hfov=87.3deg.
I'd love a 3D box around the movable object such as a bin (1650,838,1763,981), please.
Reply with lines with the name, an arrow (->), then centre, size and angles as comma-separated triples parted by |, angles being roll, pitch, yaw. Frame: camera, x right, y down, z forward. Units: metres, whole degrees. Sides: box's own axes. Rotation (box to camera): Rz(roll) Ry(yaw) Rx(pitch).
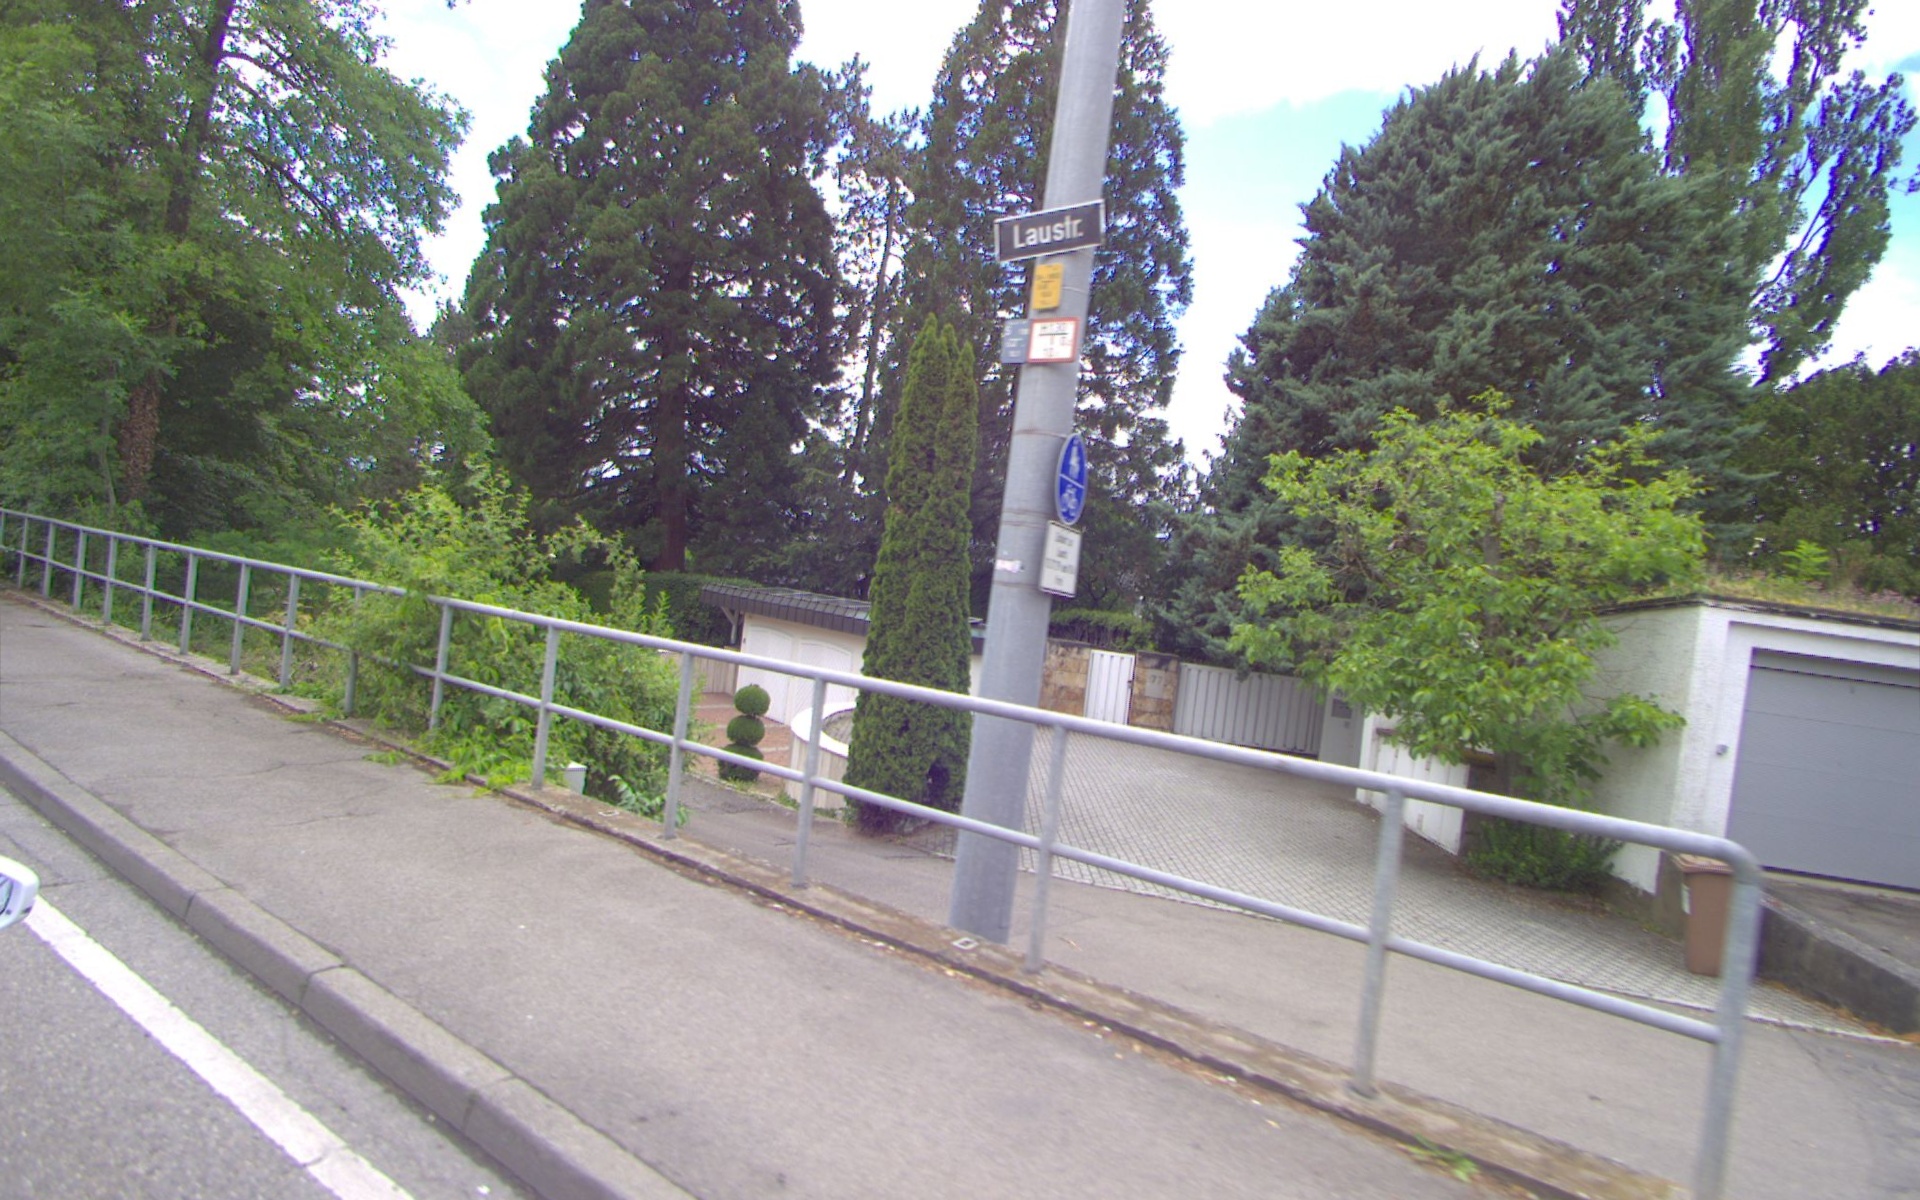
movable object such as a bin -> 6.100, 2.514, 8.241 | 0.499, 0.986, 0.541 | 4, -2, 6
